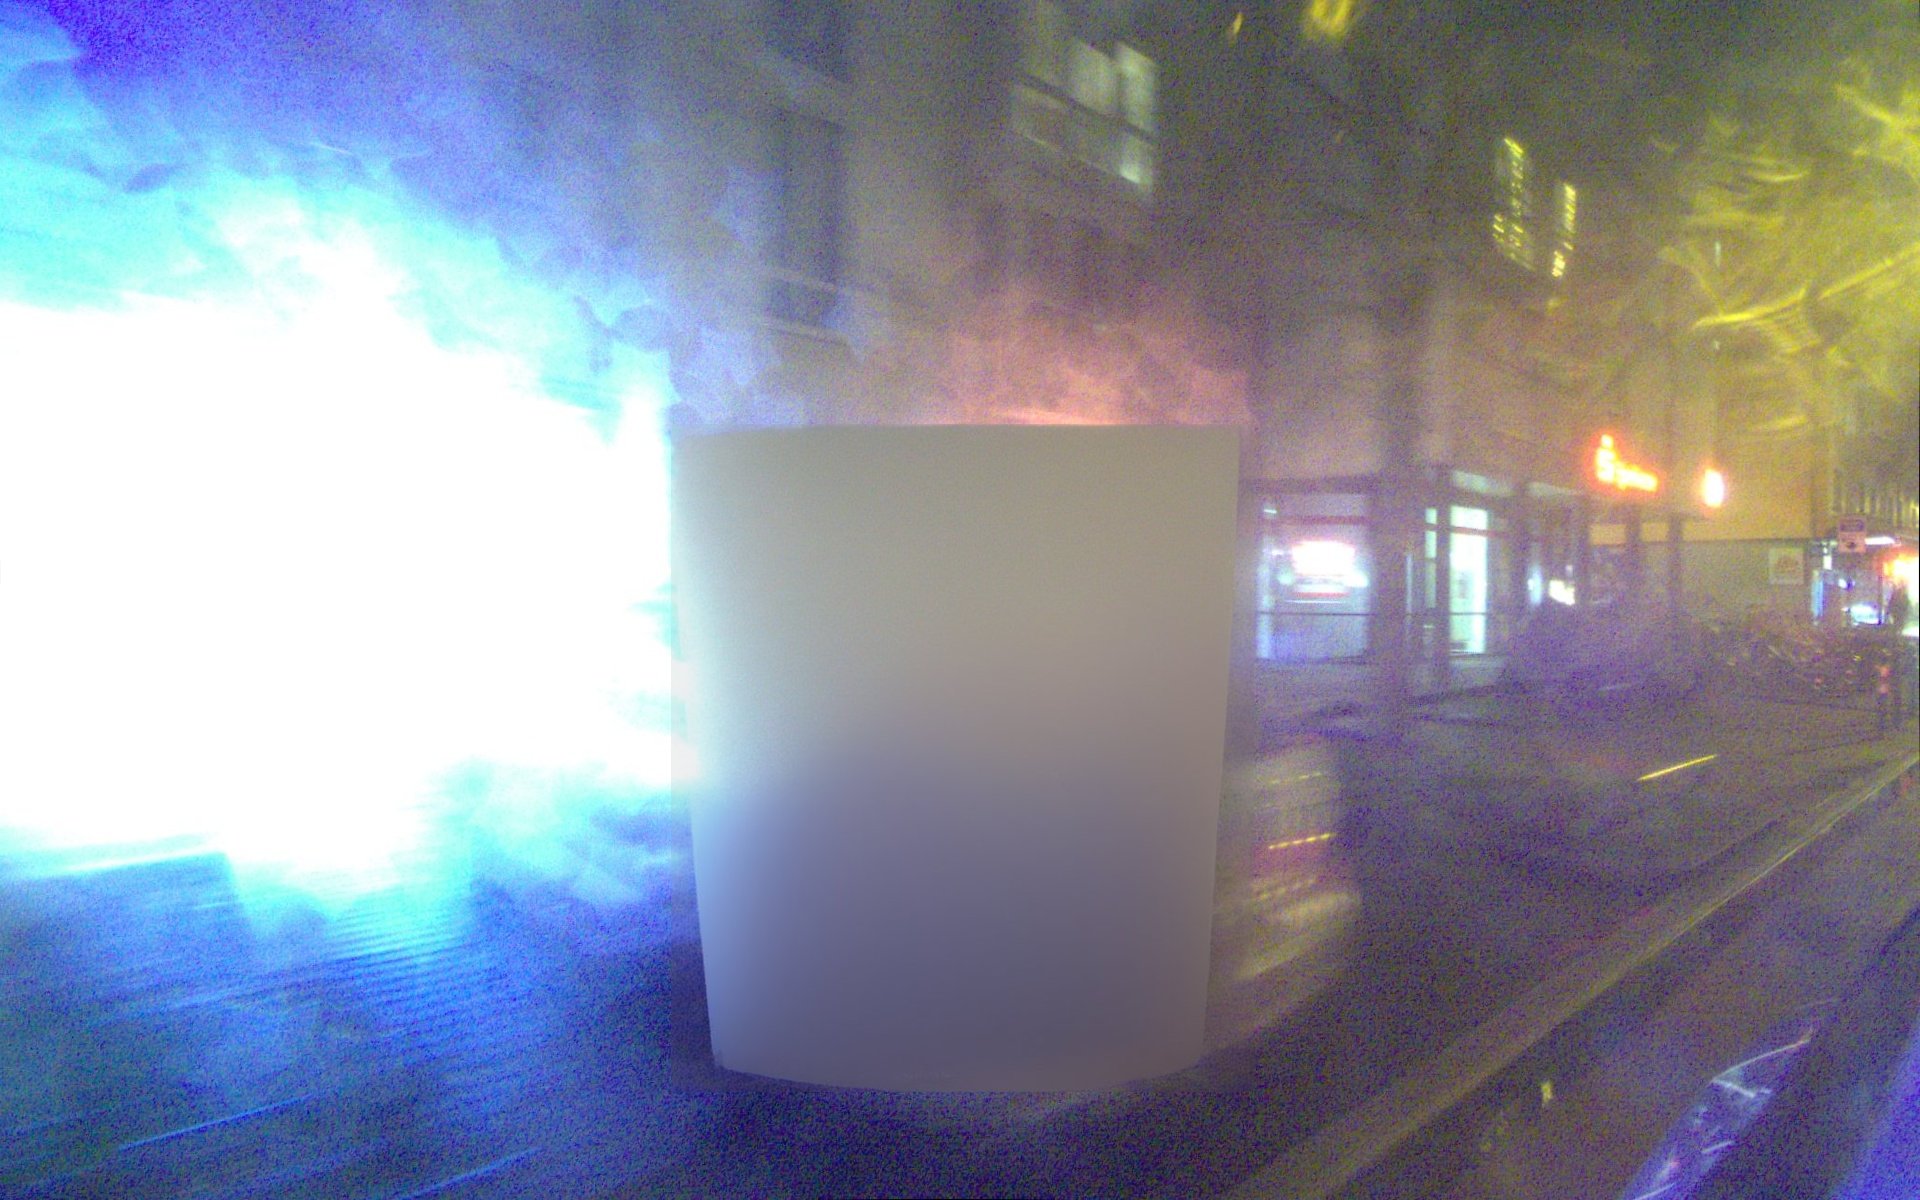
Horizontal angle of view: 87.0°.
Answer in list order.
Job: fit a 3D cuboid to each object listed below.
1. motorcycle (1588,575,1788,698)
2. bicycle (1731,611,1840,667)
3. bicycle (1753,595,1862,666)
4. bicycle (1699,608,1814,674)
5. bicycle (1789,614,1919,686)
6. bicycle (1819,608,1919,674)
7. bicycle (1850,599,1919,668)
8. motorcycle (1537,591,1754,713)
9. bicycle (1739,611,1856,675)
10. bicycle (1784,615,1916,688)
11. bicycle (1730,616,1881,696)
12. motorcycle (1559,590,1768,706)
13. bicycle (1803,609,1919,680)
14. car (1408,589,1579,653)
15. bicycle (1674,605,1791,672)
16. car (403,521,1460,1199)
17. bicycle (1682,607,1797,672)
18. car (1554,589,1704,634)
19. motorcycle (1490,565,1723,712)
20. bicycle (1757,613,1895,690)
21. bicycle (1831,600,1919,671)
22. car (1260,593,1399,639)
[{"bbox_3d":[10.727,0.482,14.995,0.851,1.566,2.178,0,5,-40],"label":"motorcycle"},{"bbox_3d":[15.822,0.730,19.431,0.319,0.843,1.535,0,6,-36],"label":"bicycle"},{"bbox_3d":[16.998,0.586,20.326,0.360,1.216,1.532,-1,7,-41],"label":"bicycle"},{"bbox_3d":[14.469,0.723,18.419,0.360,0.963,1.531,-1,7,-43],"label":"bicycle"},{"bbox_3d":[14.923,0.817,16.922,0.360,0.963,1.531,-1,7,-43],"label":"bicycle"},{"bbox_3d":[17.245,0.759,19.030,0.360,1.035,1.533,-1,7,-41],"label":"bicycle"},{"bbox_3d":[18.575,0.675,19.862,0.359,1.216,1.534,0,6,-37],"label":"bicycle"},{"bbox_3d":[9.077,0.628,13.493,0.851,1.334,2.178,0,5,-40],"label":"motorcycle"},{"bbox_3d":[15.364,0.769,18.598,0.359,0.963,1.535,0,6,-36],"label":"bicycle"},{"bbox_3d":[14.613,0.817,16.658,0.360,0.963,1.531,-1,7,-43],"label":"bicycle"},{"bbox_3d":[12.967,0.829,15.585,0.359,0.963,1.678,0,6,-32],"label":"bicycle"},{"bbox_3d":[9.753,0.611,14.113,0.851,1.334,2.178,0,5,-40],"label":"motorcycle"},{"bbox_3d":[16.255,0.774,18.213,0.359,1.035,1.535,0,6,-36],"label":"bicycle"},{"bbox_3d":[15.895,0.608,30.324,1.809,1.793,4.153,0,-1,-39],"label":"car"},{"bbox_3d":[13.582,0.657,17.835,0.360,0.963,1.531,-1,7,-43],"label":"bicycle"},{"bbox_3d":[-0.728,0.523,4.050,1.749,1.549,4.523,0,4,-40],"label":"car"},{"bbox_3d":[14.042,0.693,18.261,0.360,0.963,1.531,-1,7,-44],"label":"bicycle"},{"bbox_3d":[23.372,0.400,35.468,1.861,1.504,3.995,0,-1,-39],"label":"car"},{"bbox_3d":[8.256,0.421,13.032,0.851,1.607,2.294,0,5,-40],"label":"motorcycle"},{"bbox_3d":[13.548,0.778,15.880,0.359,0.963,1.536,0,6,-32],"label":"bicycle"},{"bbox_3d":[18.096,0.686,19.744,0.360,1.216,1.532,-1,7,-41],"label":"bicycle"},{"bbox_3d":[12.572,0.541,34.636,1.809,1.452,4.153,0,-1,-39],"label":"car"}]
